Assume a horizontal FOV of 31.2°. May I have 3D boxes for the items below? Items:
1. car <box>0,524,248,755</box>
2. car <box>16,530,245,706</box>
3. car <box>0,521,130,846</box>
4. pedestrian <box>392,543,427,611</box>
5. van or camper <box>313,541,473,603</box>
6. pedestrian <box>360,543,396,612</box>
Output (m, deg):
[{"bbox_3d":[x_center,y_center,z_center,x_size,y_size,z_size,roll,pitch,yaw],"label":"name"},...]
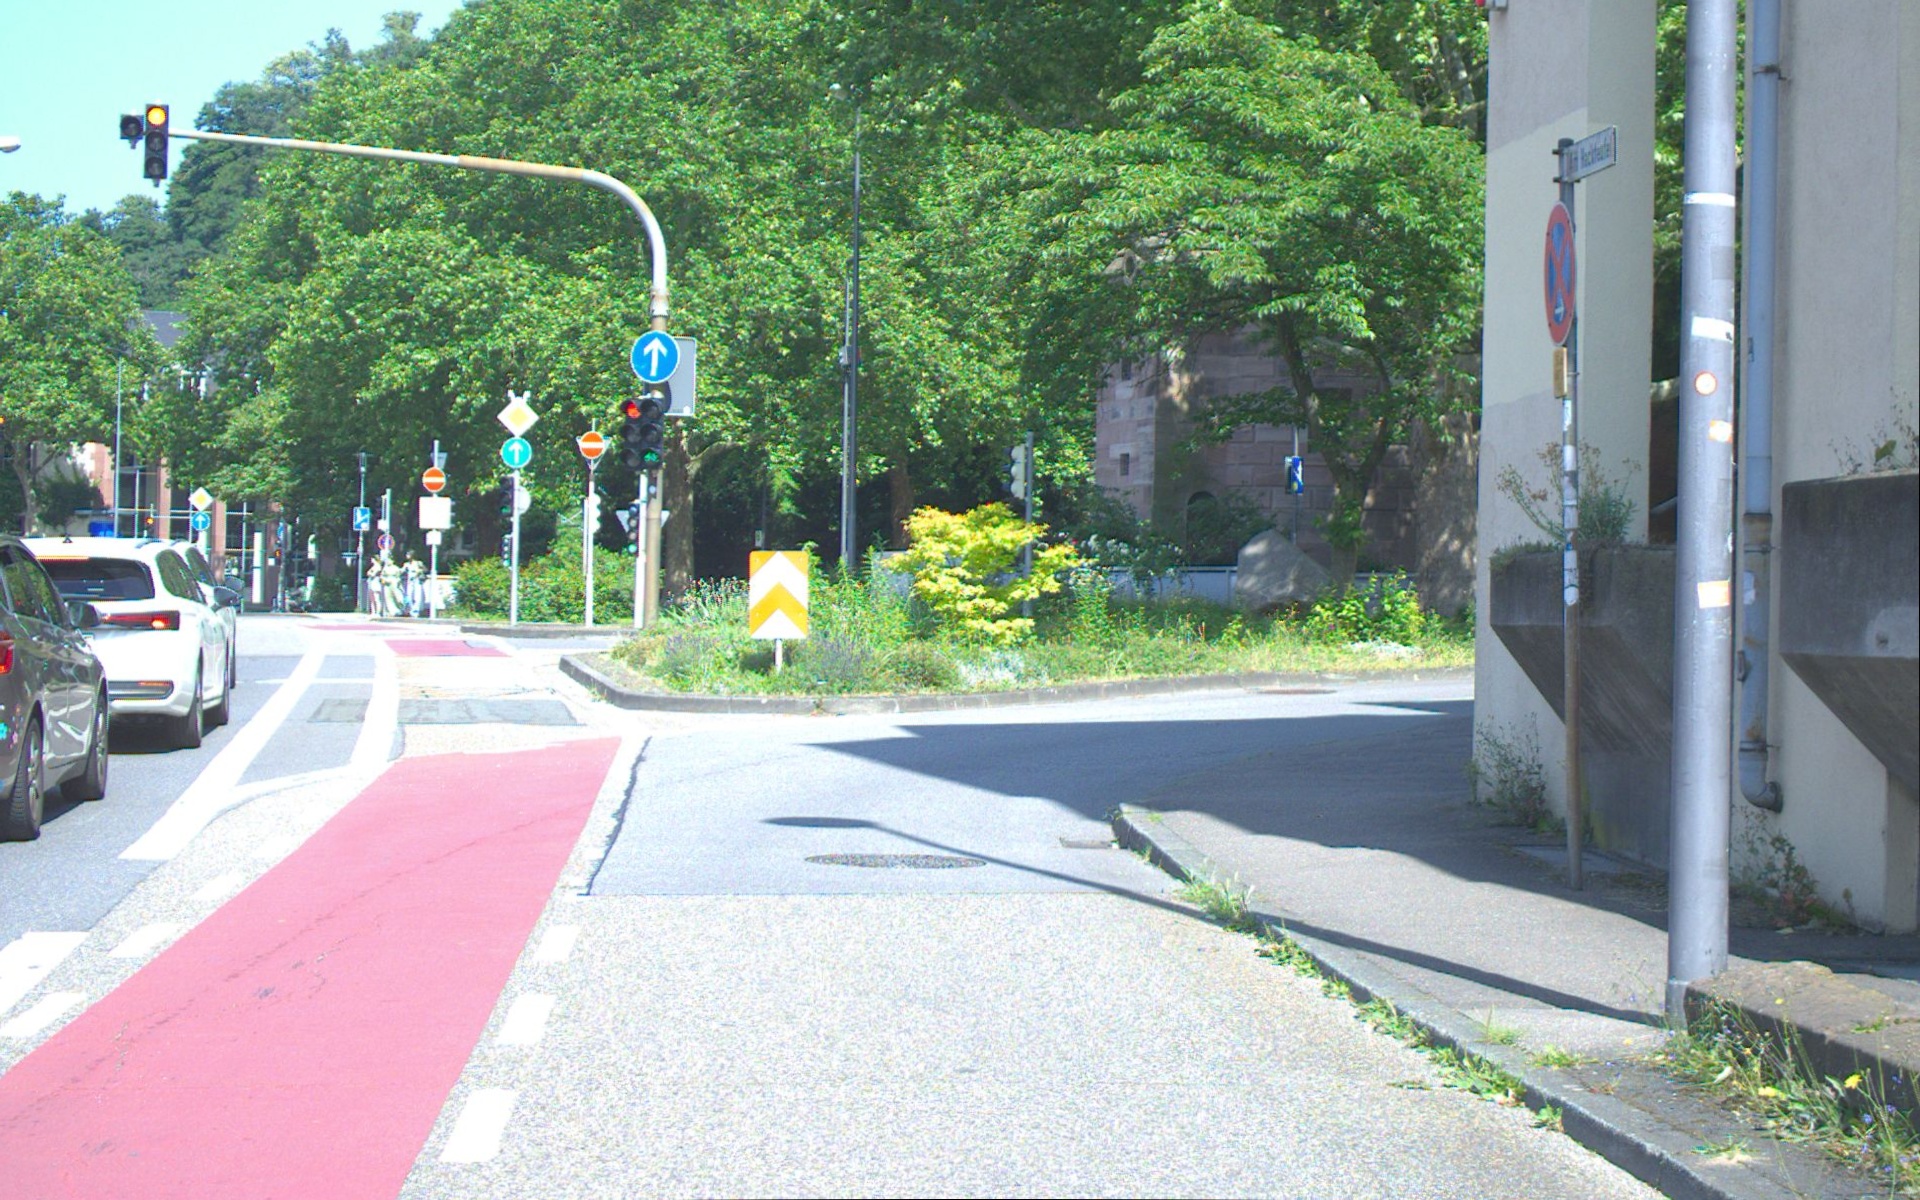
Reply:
[{"bbox_3d":[-6.446,0.213,25.344,1.993,1.528,4.860,0,1,-8],"label":"car"},{"bbox_3d":[-7.726,0.128,32.376,1.785,1.527,4.738,0,1,-10],"label":"car"},{"bbox_3d":[-5.601,0.349,18.044,1.888,1.516,4.306,1,1,-6],"label":"car"},{"bbox_3d":[-13.845,-0.579,86.502,0.761,1.703,0.878,0,1,-1],"label":"pedestrian"},{"bbox_3d":[-17.834,-0.891,108.210,4.544,1.895,1.999,0,1,10],"label":"van or camper"},{"bbox_3d":[-14.646,-0.575,86.513,0.761,1.713,0.795,0,1,-1],"label":"pedestrian"}]
